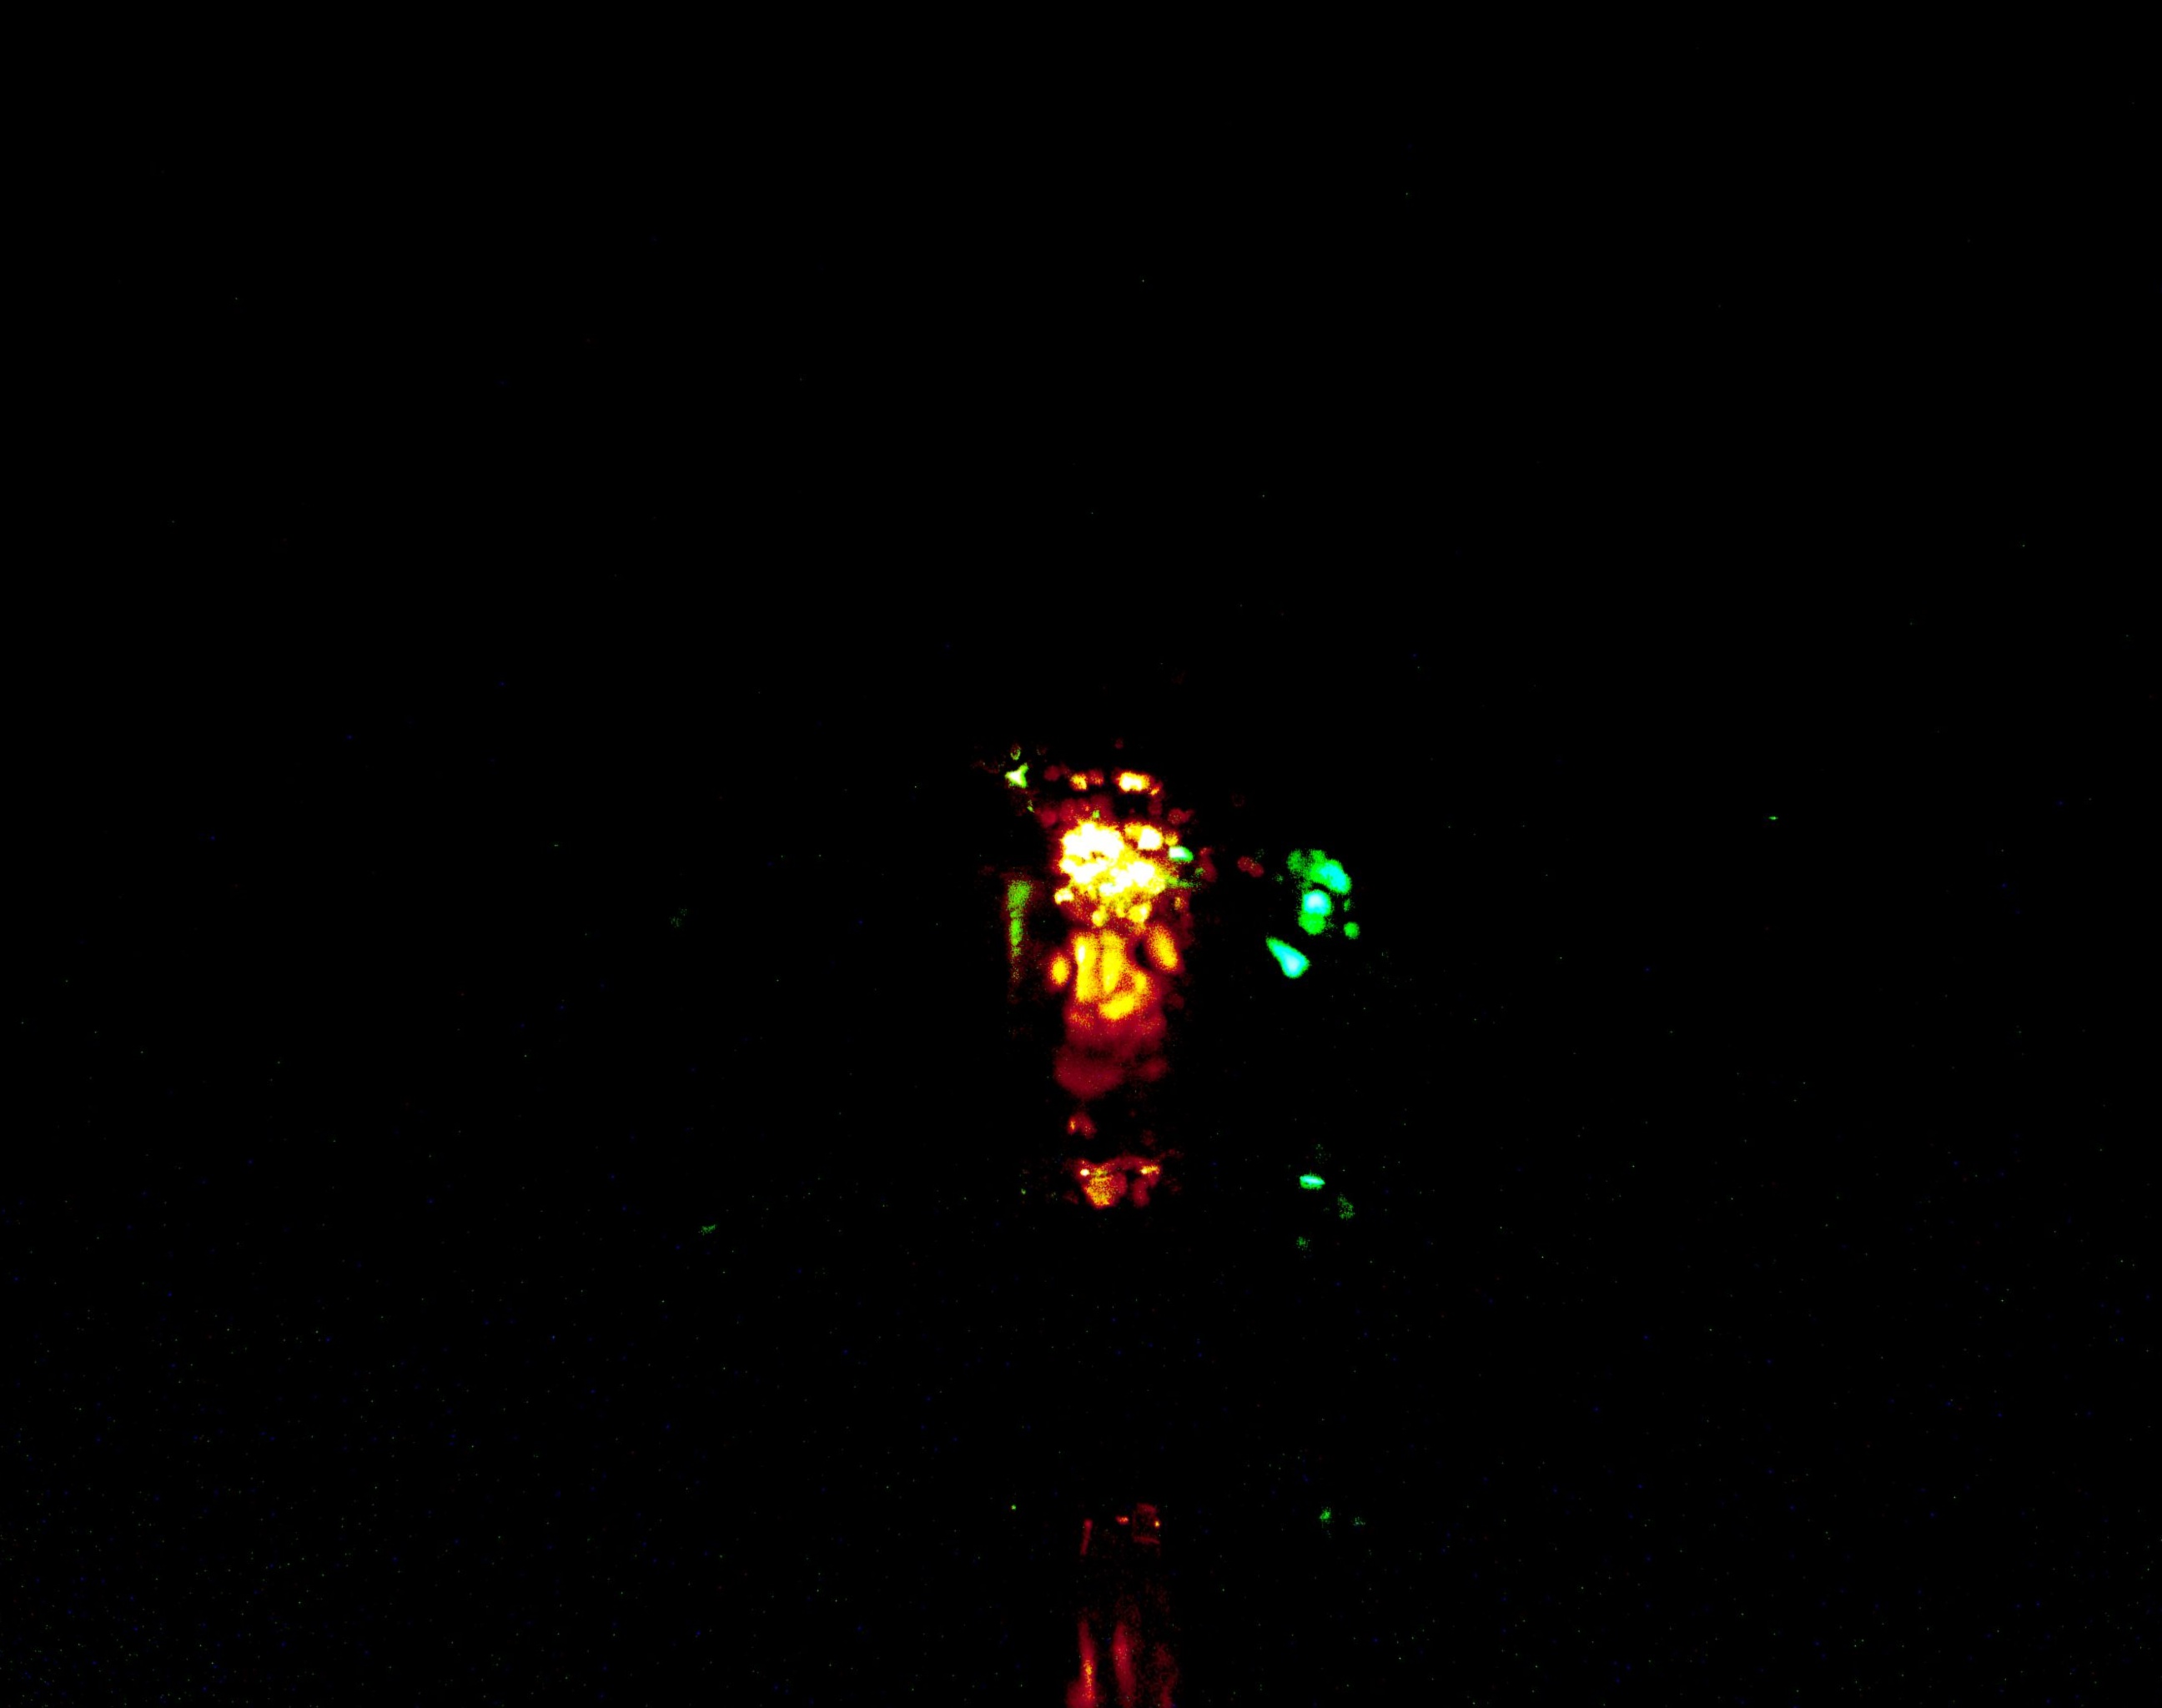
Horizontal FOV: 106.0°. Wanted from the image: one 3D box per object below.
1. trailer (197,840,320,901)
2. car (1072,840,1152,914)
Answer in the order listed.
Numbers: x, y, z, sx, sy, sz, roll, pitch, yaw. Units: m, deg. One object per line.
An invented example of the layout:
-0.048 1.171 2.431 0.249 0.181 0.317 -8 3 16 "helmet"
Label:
-32.345 0.675 32.052 3.766 2.218 1.984 -3 -2 20 "trailer"
0.848 0.514 20.514 1.783 1.681 3.909 -1 0 4 "car"
